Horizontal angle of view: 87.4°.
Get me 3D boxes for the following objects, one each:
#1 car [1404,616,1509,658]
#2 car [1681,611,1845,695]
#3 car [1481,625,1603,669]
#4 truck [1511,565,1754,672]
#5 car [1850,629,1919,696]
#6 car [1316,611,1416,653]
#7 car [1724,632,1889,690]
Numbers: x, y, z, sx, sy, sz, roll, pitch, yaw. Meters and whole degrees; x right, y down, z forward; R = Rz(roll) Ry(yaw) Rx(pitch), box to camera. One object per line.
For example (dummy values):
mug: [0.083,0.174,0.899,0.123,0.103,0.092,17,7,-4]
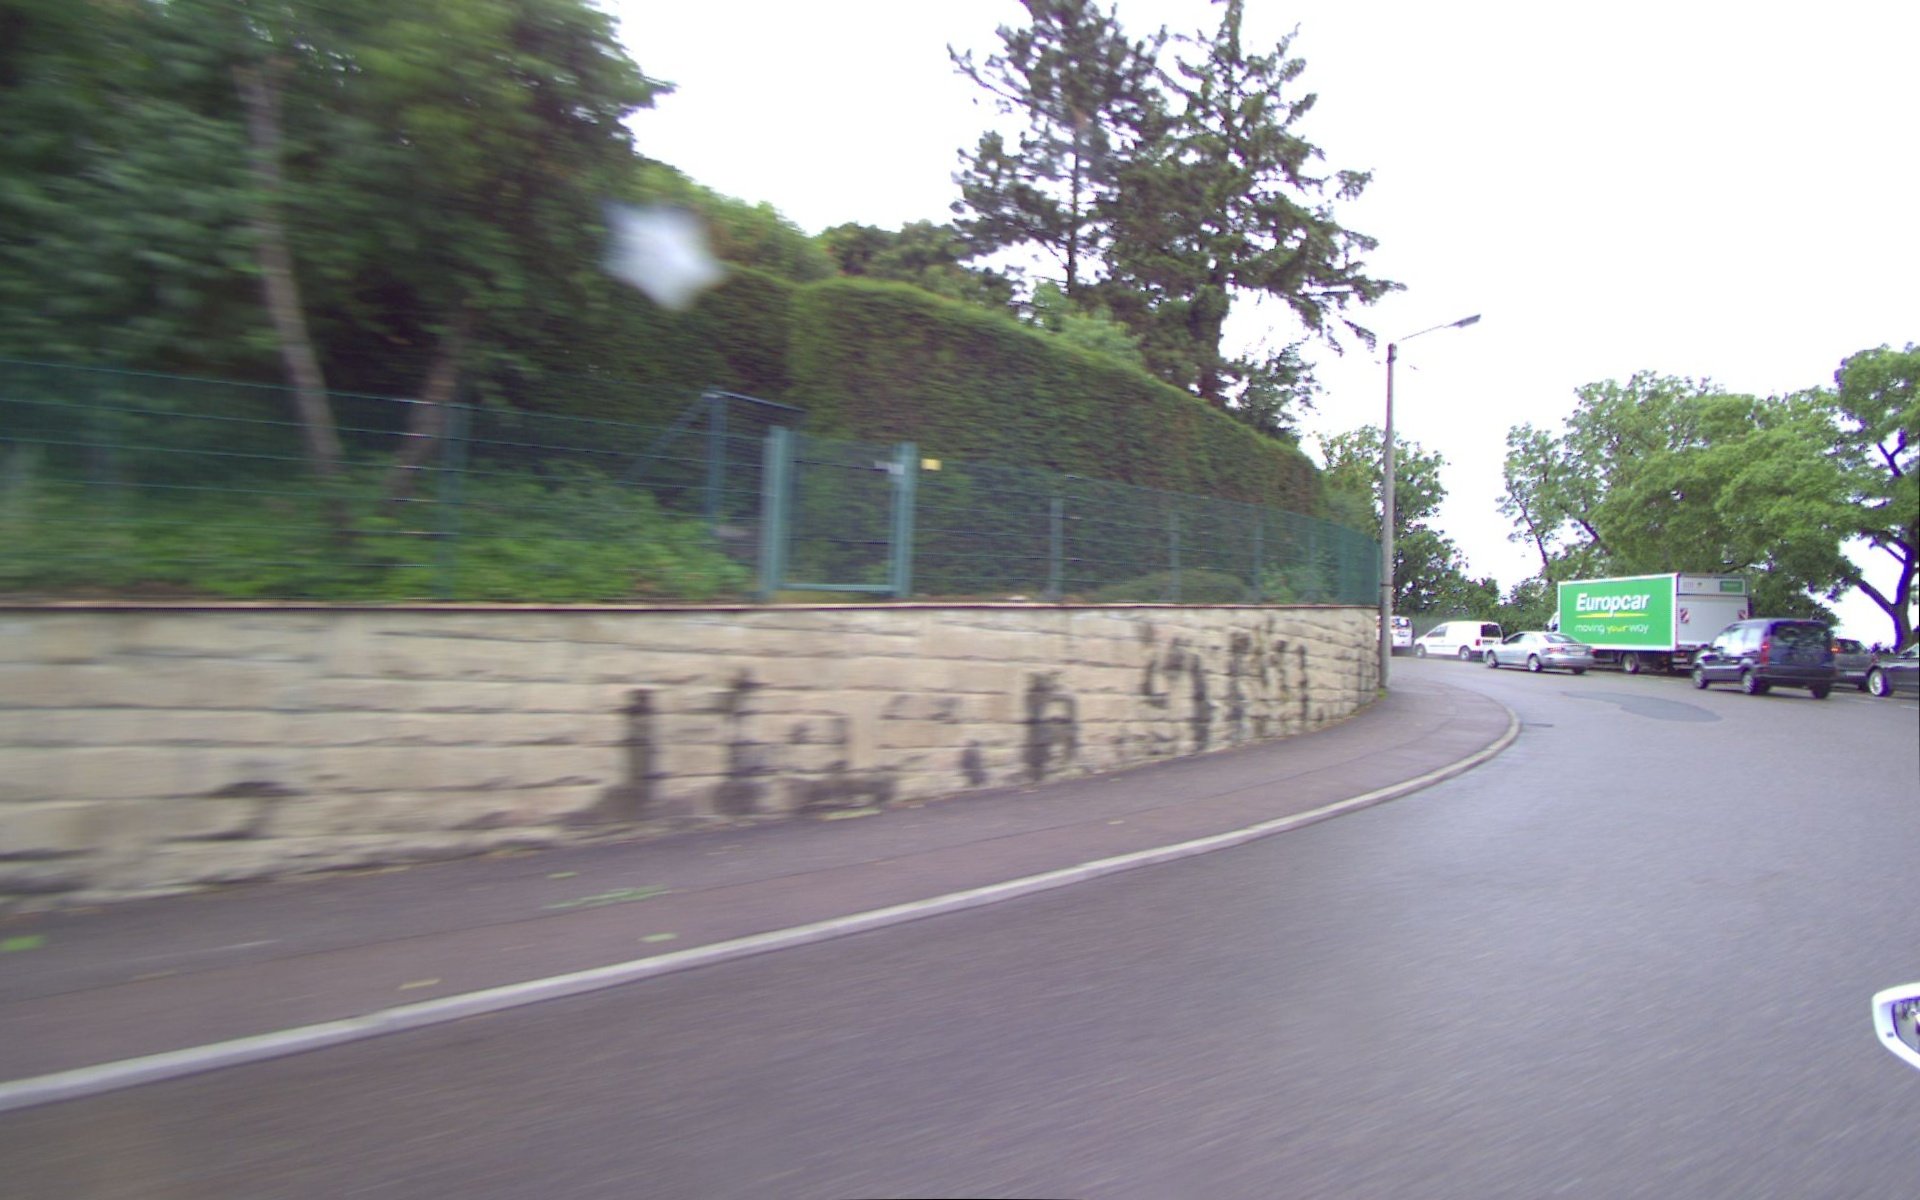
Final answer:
car: [23.242,1.693,47.187,1.838,1.794,4.359,3,-1,-20]
car: [19.930,1.264,25.151,1.793,1.907,4.097,0,-1,17]
car: [20.702,1.640,35.940,1.824,1.478,4.094,0,-1,-3]
truck: [24.684,0.683,37.667,2.729,3.517,8.930,1,-1,-3]
car: [23.532,1.471,23.666,1.828,1.563,4.897,0,-1,15]
car: [21.175,1.656,52.630,1.843,1.974,4.773,3,-1,-28]
car: [24.444,1.702,29.219,1.704,1.523,4.138,0,-1,8]
